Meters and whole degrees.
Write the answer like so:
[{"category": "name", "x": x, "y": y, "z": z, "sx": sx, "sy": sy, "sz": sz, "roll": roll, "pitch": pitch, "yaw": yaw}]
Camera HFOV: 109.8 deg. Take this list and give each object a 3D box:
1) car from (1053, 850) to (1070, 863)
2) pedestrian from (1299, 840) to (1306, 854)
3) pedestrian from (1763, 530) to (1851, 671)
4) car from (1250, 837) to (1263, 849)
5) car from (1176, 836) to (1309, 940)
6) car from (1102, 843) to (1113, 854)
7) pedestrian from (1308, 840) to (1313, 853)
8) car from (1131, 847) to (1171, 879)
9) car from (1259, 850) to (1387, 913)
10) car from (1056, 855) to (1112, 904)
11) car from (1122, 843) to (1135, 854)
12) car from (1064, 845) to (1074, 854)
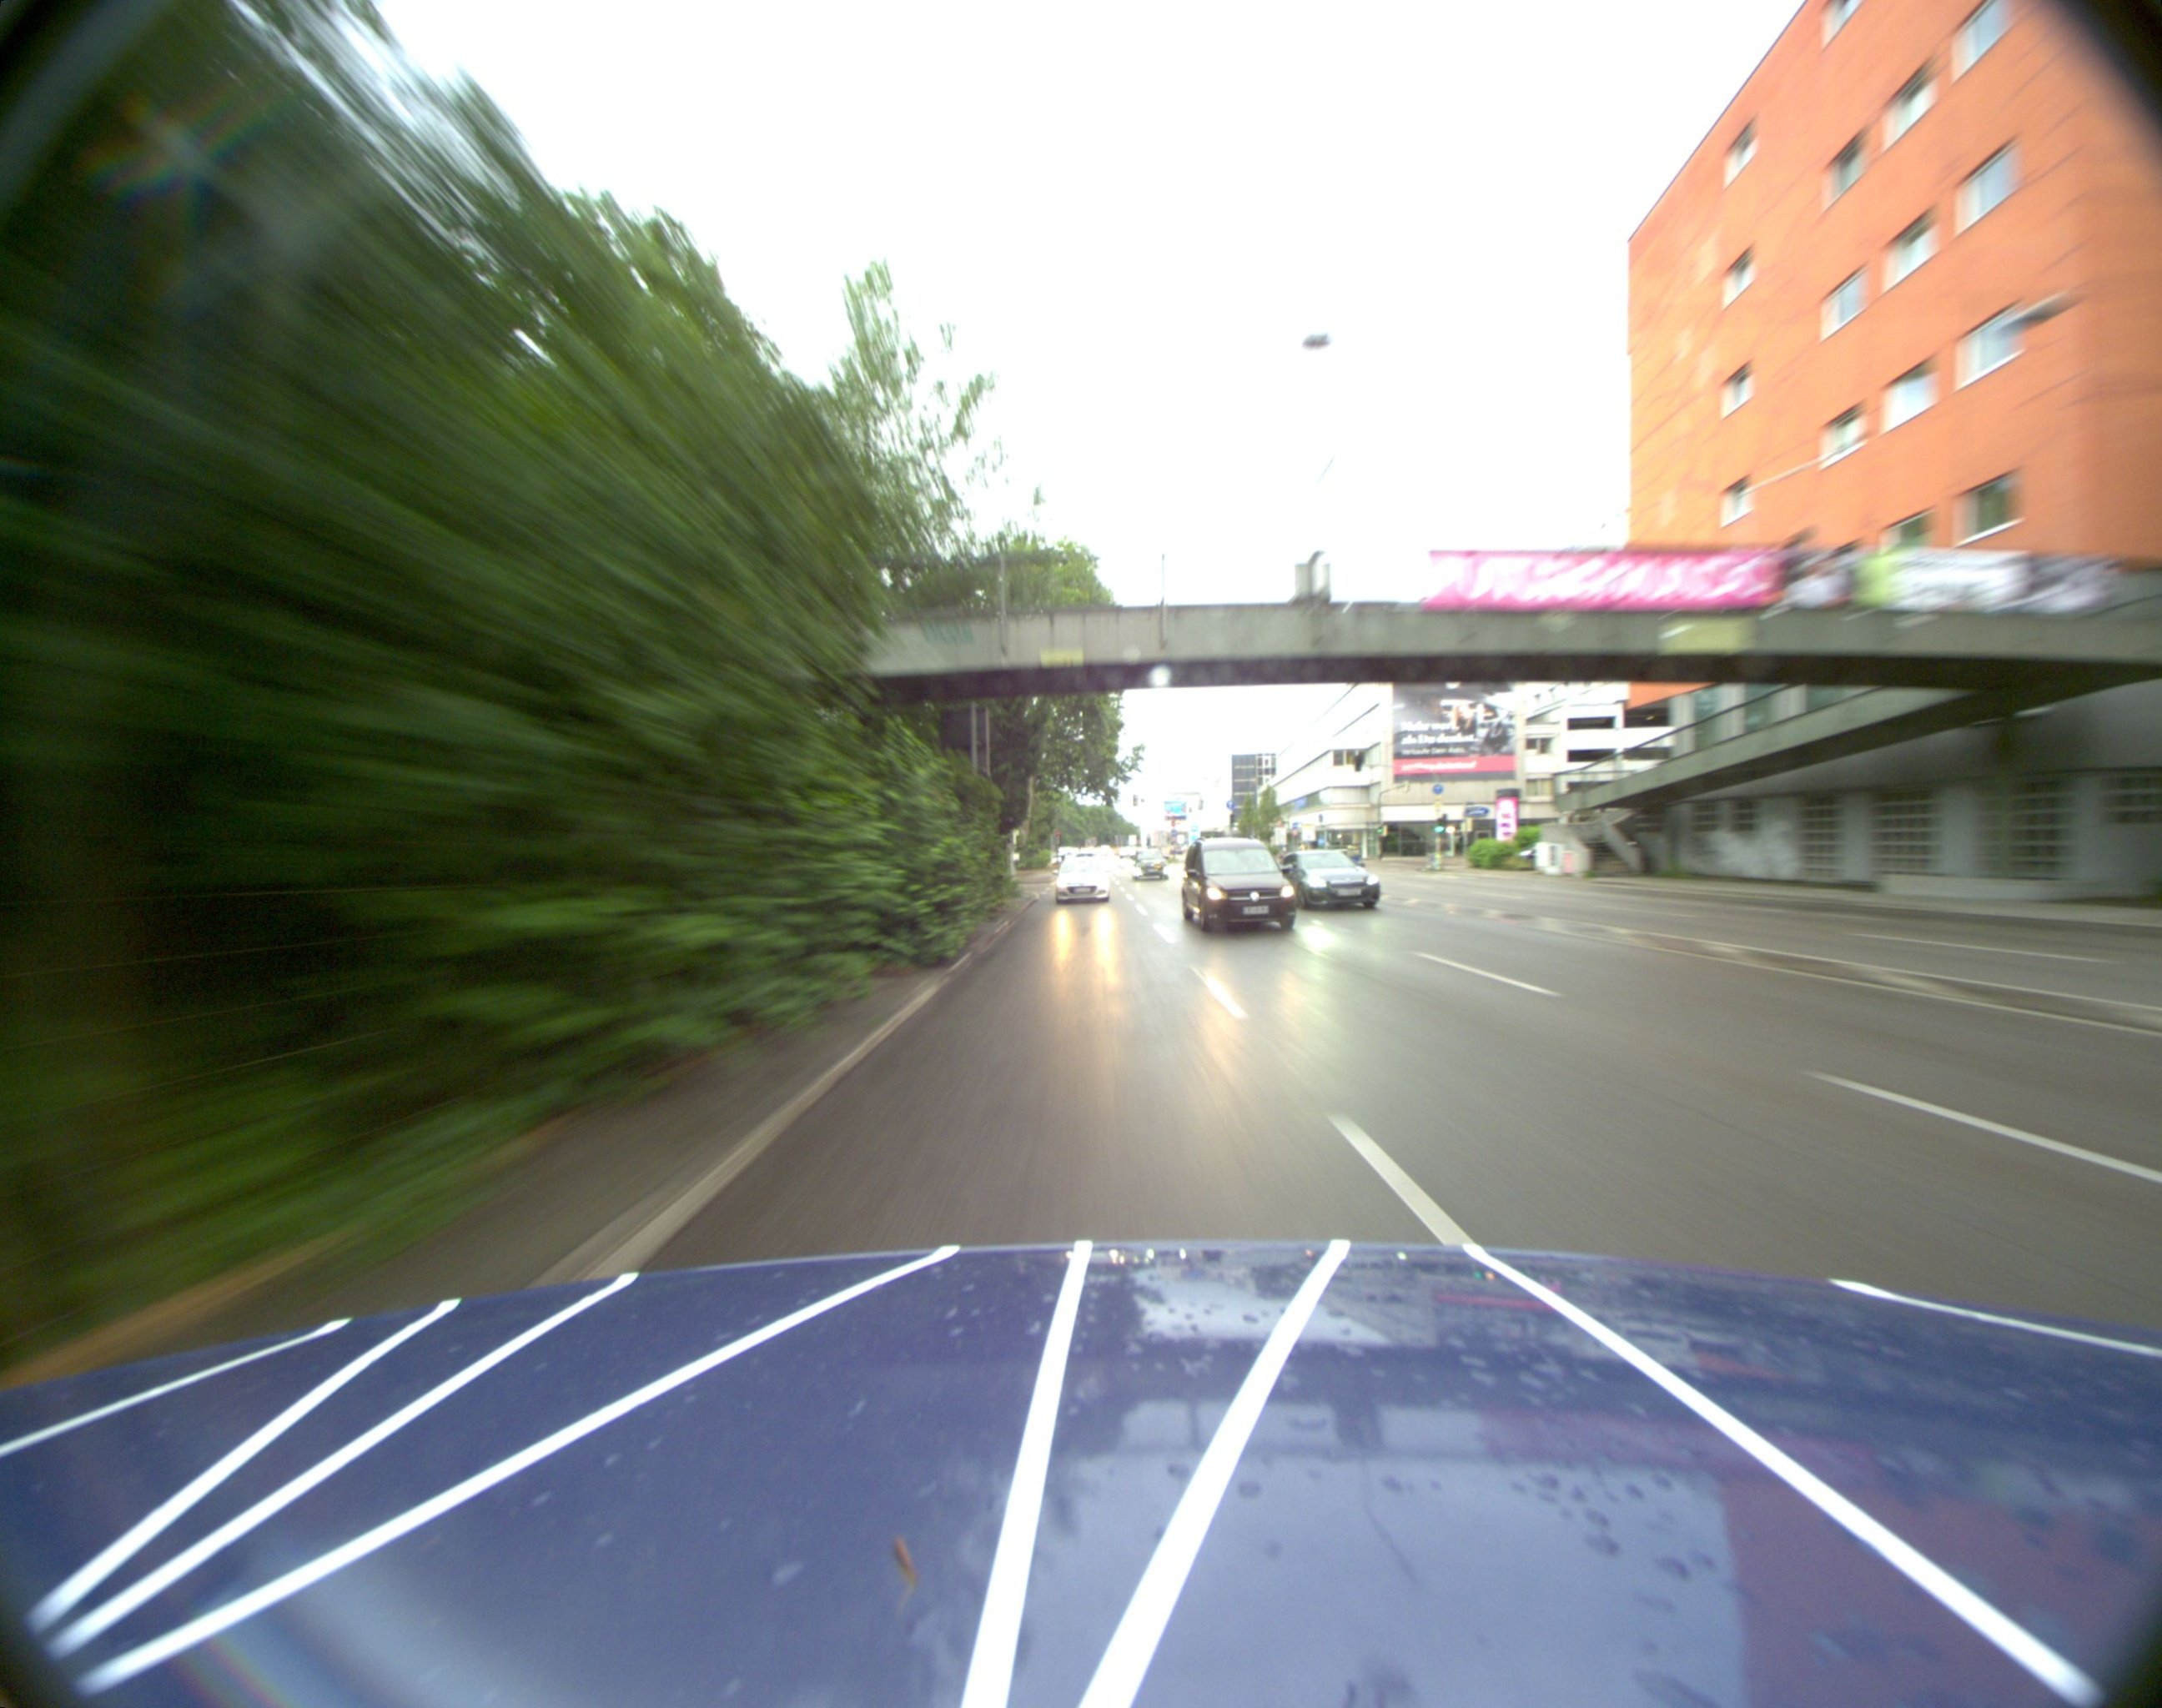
[{"category": "car", "x": -2.479, "y": 0.280, "z": 96.401, "sx": 1.730, "sy": 1.502, "sz": 3.732, "roll": -2, "pitch": 1, "yaw": 4}, {"category": "pedestrian", "x": 25.914, "y": -0.808, "z": 88.883, "sx": 0.575, "sy": 1.522, "sz": 0.454, "roll": -2, "pitch": 1, "yaw": 6}, {"category": "pedestrian", "x": 12.913, "y": -4.482, "z": 13.530, "sx": 0.833, "sy": 2.242, "sz": 0.738, "roll": -1, "pitch": 2, "yaw": -5}, {"category": "car", "x": 28.562, "y": -1.761, "z": 123.712, "sx": 1.883, "sy": 1.856, "sz": 4.002, "roll": -2, "pitch": 1, "yaw": 9}, {"category": "car", "x": 3.158, "y": 0.602, "z": 15.666, "sx": 1.842, "sy": 1.780, "sz": 4.000, "roll": -3, "pitch": 0, "yaw": 0}, {"category": "car", "x": 4.689, "y": -1.003, "z": 136.470, "sx": 1.878, "sy": 1.762, "sz": 3.999, "roll": -3, "pitch": 1, "yaw": 2}, {"category": "pedestrian", "x": 26.777, "y": -0.850, "z": 88.644, "sx": 0.437, "sy": 1.522, "sz": 0.513, "roll": -2, "pitch": 1, "yaw": 6}, {"category": "car", "x": 3.744, "y": 0.442, "z": 41.131, "sx": 1.731, "sy": 1.604, "sz": 3.999, "roll": -2, "pitch": 1, "yaw": 0}, {"category": "car", "x": 6.135, "y": 0.667, "z": 19.844, "sx": 1.670, "sy": 1.406, "sz": 4.539, "roll": -2, "pitch": -1, "yaw": -2}, {"category": "car", "x": 0.104, "y": 0.806, "z": 25.808, "sx": 1.731, "sy": 1.431, "sz": 3.999, "roll": -2, "pitch": 1, "yaw": 0}, {"category": "car", "x": 6.881, "y": -0.763, "z": 109.078, "sx": 1.730, "sy": 1.502, "sz": 3.732, "roll": -2, "pitch": 1, "yaw": 5}, {"category": "car", "x": -2.471, "y": -0.976, "z": 160.793, "sx": 1.878, "sy": 1.762, "sz": 3.999, "roll": -3, "pitch": 1, "yaw": 2}]
